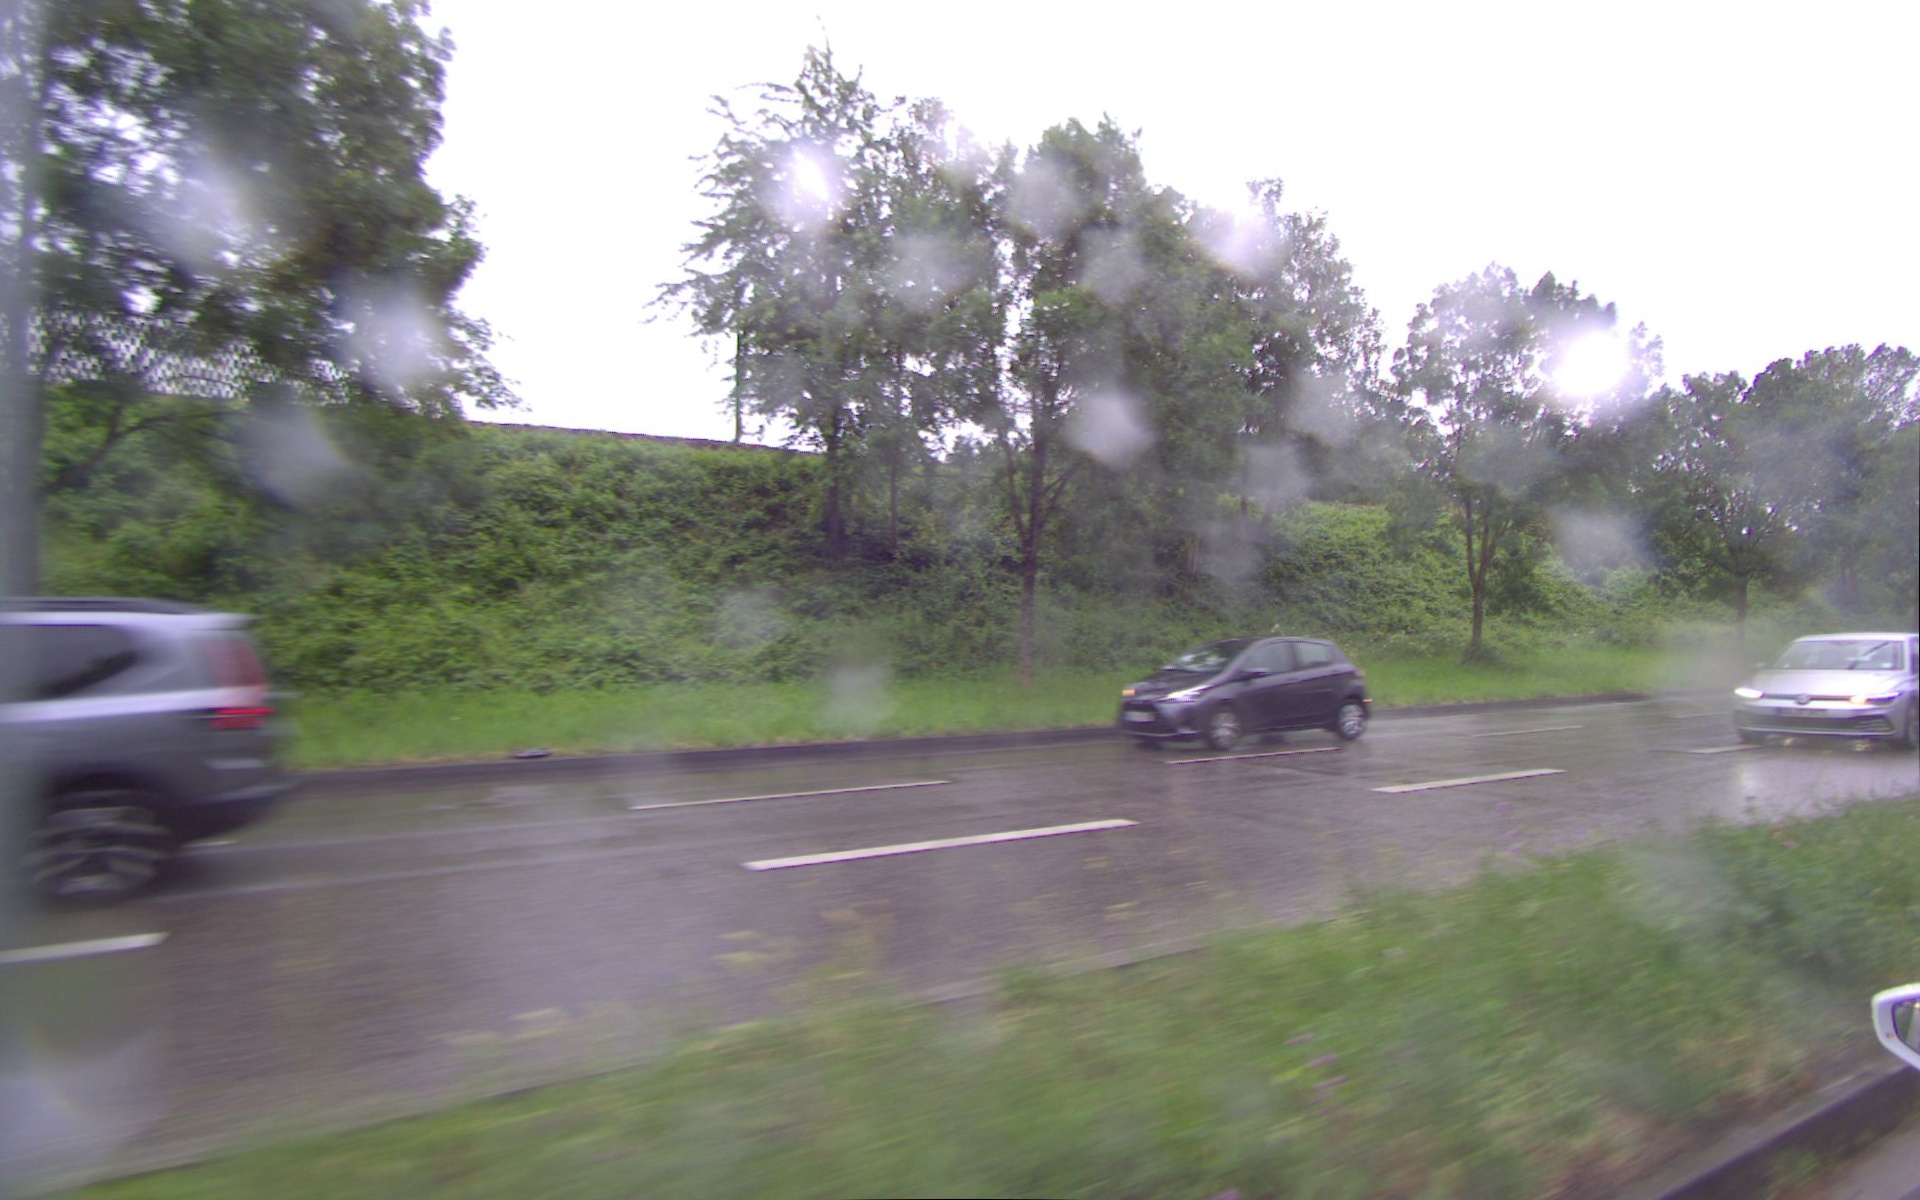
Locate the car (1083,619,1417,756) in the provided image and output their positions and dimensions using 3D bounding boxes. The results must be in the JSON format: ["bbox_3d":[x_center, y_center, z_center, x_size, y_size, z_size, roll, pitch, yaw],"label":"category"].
[{"bbox_3d":[4.261,1.156,14.611,4.652,1.710,1.985,1,-3,-30],"label":"car"}]

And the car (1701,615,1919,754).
[{"bbox_3d":[12.148,1.050,13.659,4.661,1.595,1.897,1,-3,-35],"label":"car"}]

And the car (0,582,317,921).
[{"bbox_3d":[-6.298,0.805,5.396,4.652,1.709,1.985,1,-3,-30],"label":"car"}]
